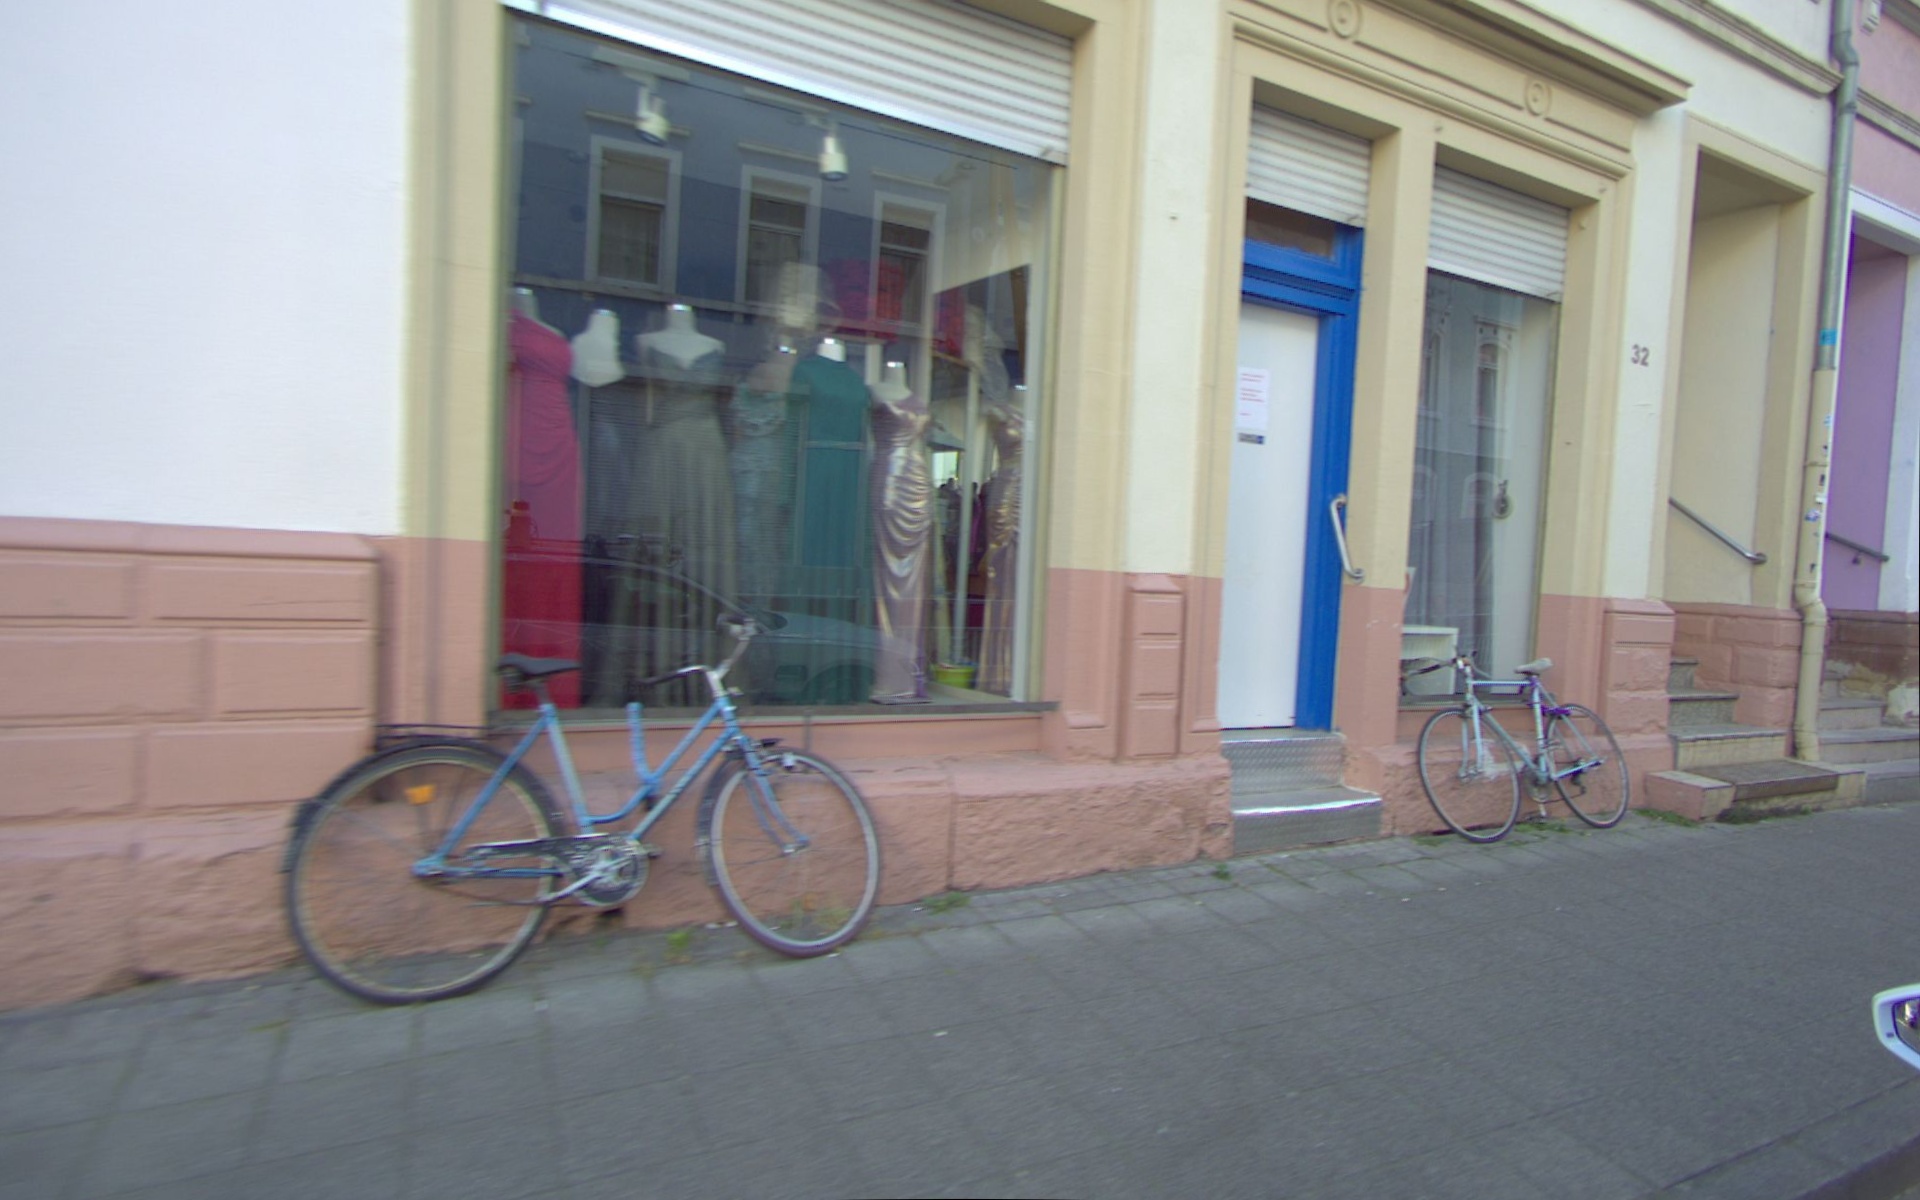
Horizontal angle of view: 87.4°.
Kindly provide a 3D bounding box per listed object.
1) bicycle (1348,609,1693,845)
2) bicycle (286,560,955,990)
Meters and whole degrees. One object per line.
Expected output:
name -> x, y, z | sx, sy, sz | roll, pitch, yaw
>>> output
bicycle -> 2.963, 0.609, 5.277 | 1.795, 1.036, 0.620 | 2, 4, -27
bicycle -> -0.990, 0.473, 3.168 | 1.795, 1.036, 0.601 | 3, 6, -27
